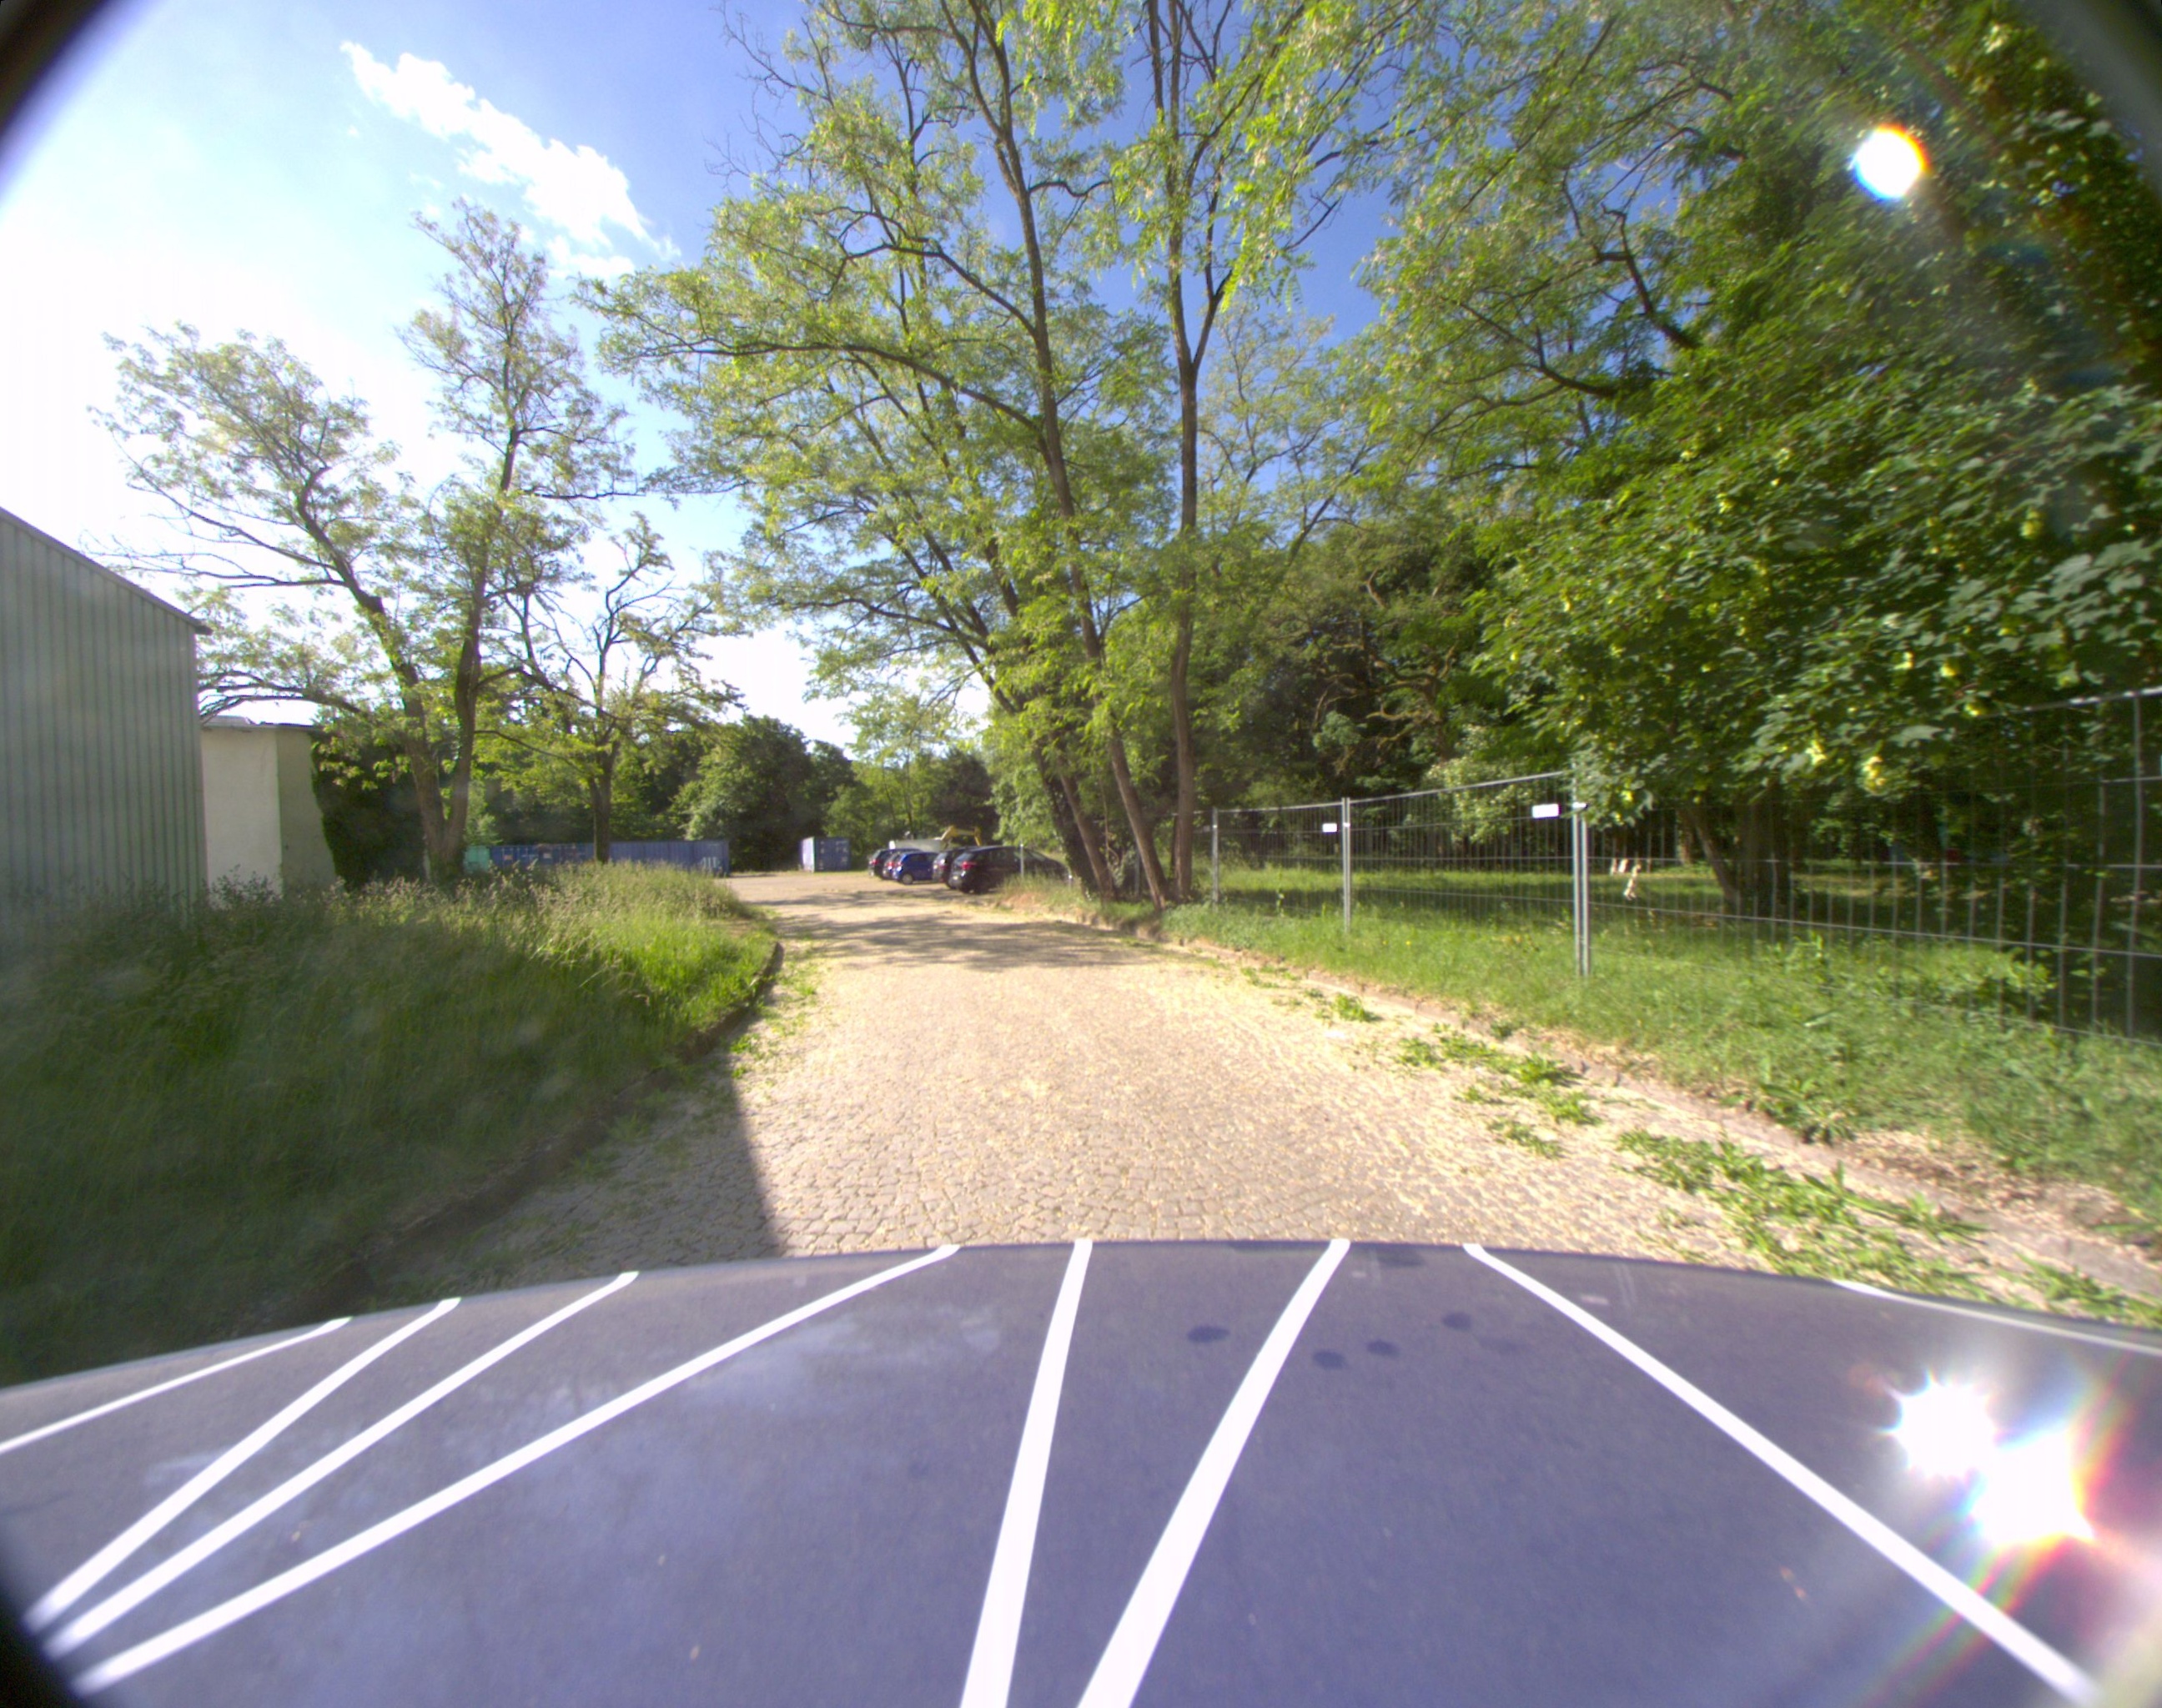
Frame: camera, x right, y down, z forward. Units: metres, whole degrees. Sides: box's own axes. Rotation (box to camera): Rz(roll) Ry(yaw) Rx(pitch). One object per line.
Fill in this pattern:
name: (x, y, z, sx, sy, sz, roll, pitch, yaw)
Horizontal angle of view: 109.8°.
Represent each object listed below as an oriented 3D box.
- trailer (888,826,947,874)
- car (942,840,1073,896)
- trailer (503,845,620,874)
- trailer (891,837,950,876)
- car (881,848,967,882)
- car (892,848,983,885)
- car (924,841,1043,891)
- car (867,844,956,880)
trailer: (-9.729, -0.281, 45.080, 2.852, 2.525, 2.261, -6, 4, -22)
car: (-2.665, 0.468, 27.710, 4.277, 1.581, 1.825, -6, 3, -28)
trailer: (-28.591, 0.274, 42.046, 4.867, 1.406, 2.643, -2, 2, -24)
trailer: (-9.046, 0.119, 42.829, 2.853, 2.039, 1.820, -3, 3, -22)
car: (-7.803, 0.526, 37.703, 3.794, 1.403, 1.891, -3, 2, -24)
car: (-6.686, 0.543, 35.317, 3.793, 1.450, 1.782, -4, 3, -23)
car: (-3.909, 0.435, 30.711, 4.278, 1.622, 1.876, -5, 3, -28)
car: (-8.900, 0.378, 39.881, 4.135, 1.581, 1.966, -3, 2, -24)
